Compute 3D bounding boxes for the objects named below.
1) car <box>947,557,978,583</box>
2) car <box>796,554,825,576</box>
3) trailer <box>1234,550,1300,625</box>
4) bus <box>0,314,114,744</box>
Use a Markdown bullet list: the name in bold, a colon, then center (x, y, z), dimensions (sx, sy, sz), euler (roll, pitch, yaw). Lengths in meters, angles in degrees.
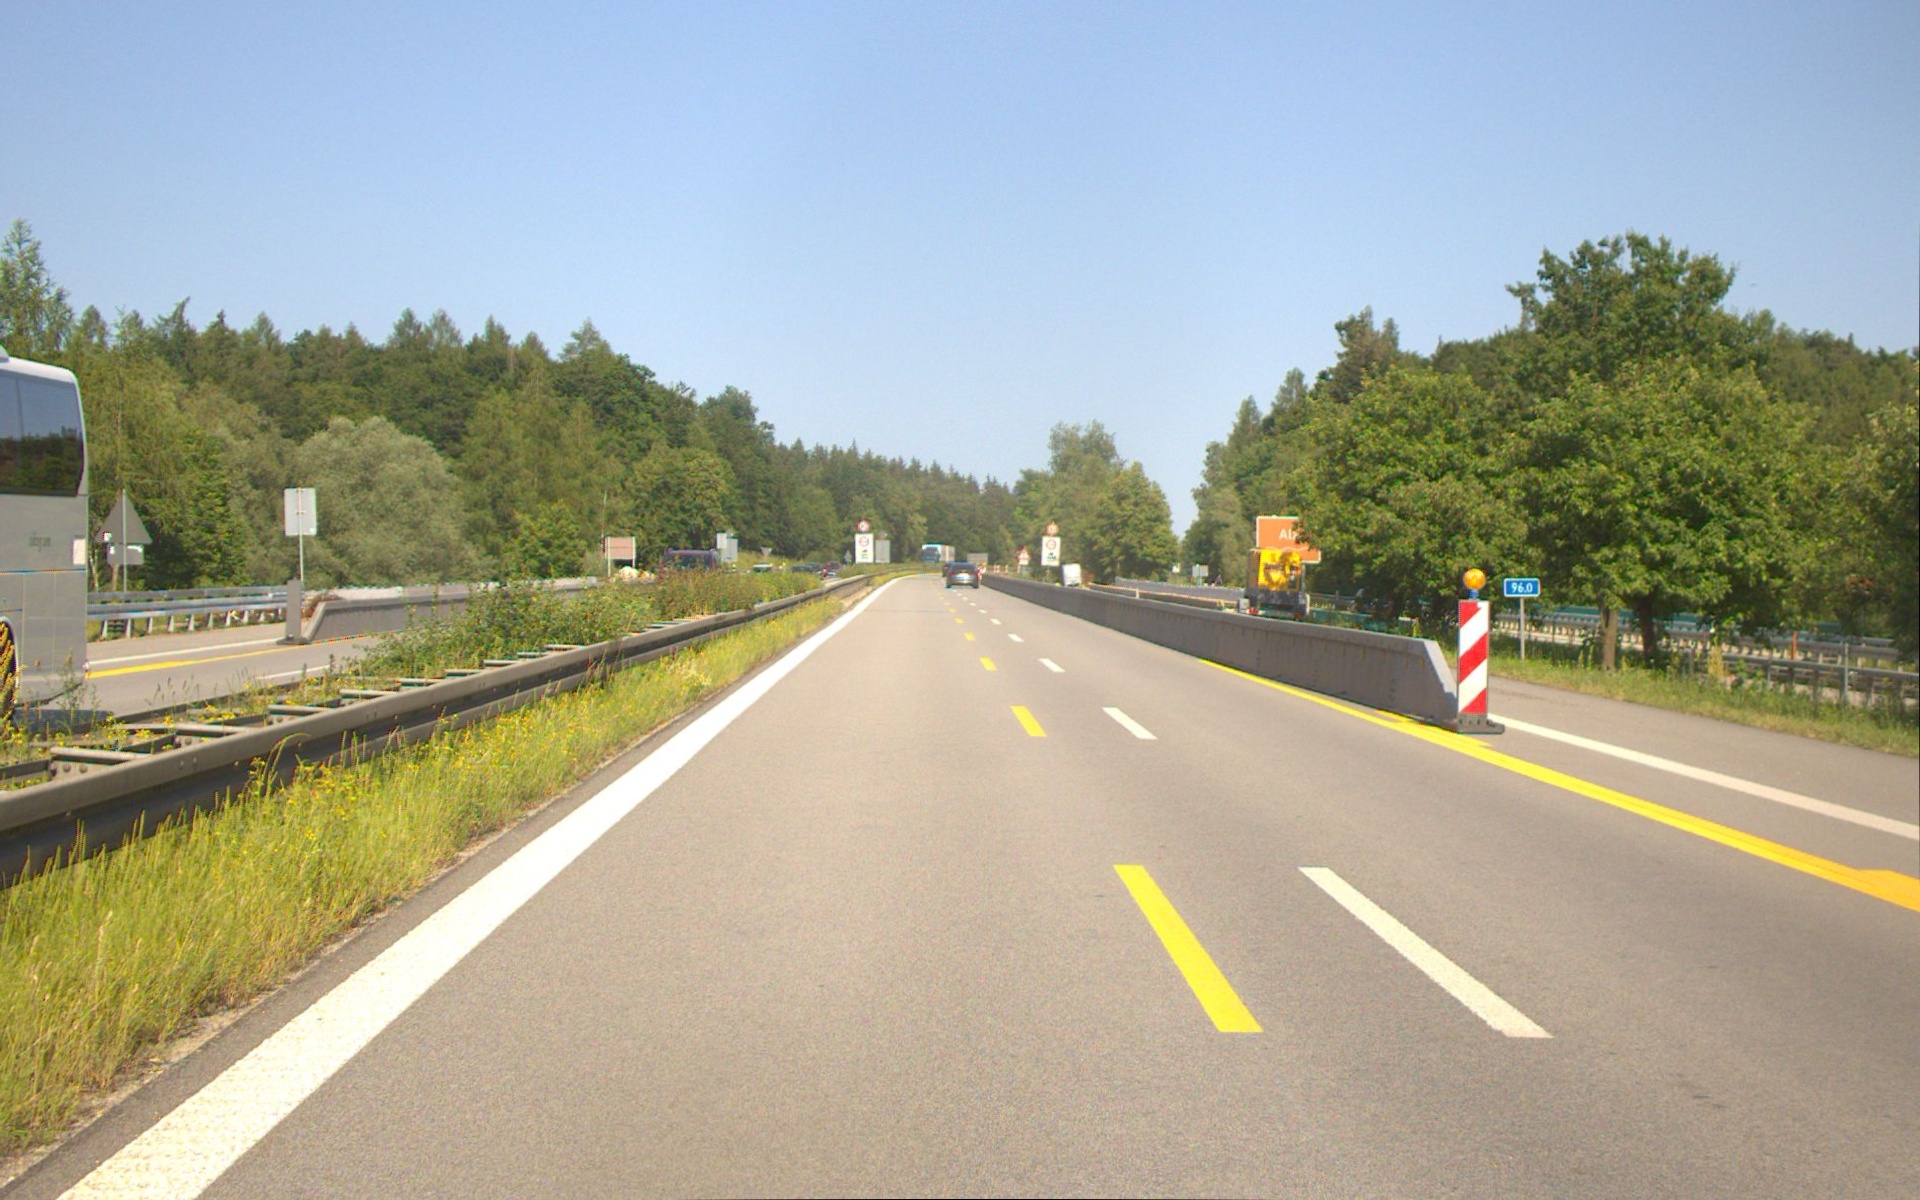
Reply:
- **car**: center (0.133, -1.717, 197.717), dimensions (1.744, 1.461, 4.294), euler (0, 1, -1)
- **car**: center (-9.516, -2.264, 219.436), dimensions (1.646, 1.372, 4.808), euler (0, 1, 0)
- **trailer**: center (7.790, -0.329, 87.497), dimensions (1.125, 1.867, 4.001), euler (0, 1, -3)
- **bus**: center (-9.556, -0.586, 27.083), dimensions (2.881, 3.658, 12.919), euler (1, 1, -1)
